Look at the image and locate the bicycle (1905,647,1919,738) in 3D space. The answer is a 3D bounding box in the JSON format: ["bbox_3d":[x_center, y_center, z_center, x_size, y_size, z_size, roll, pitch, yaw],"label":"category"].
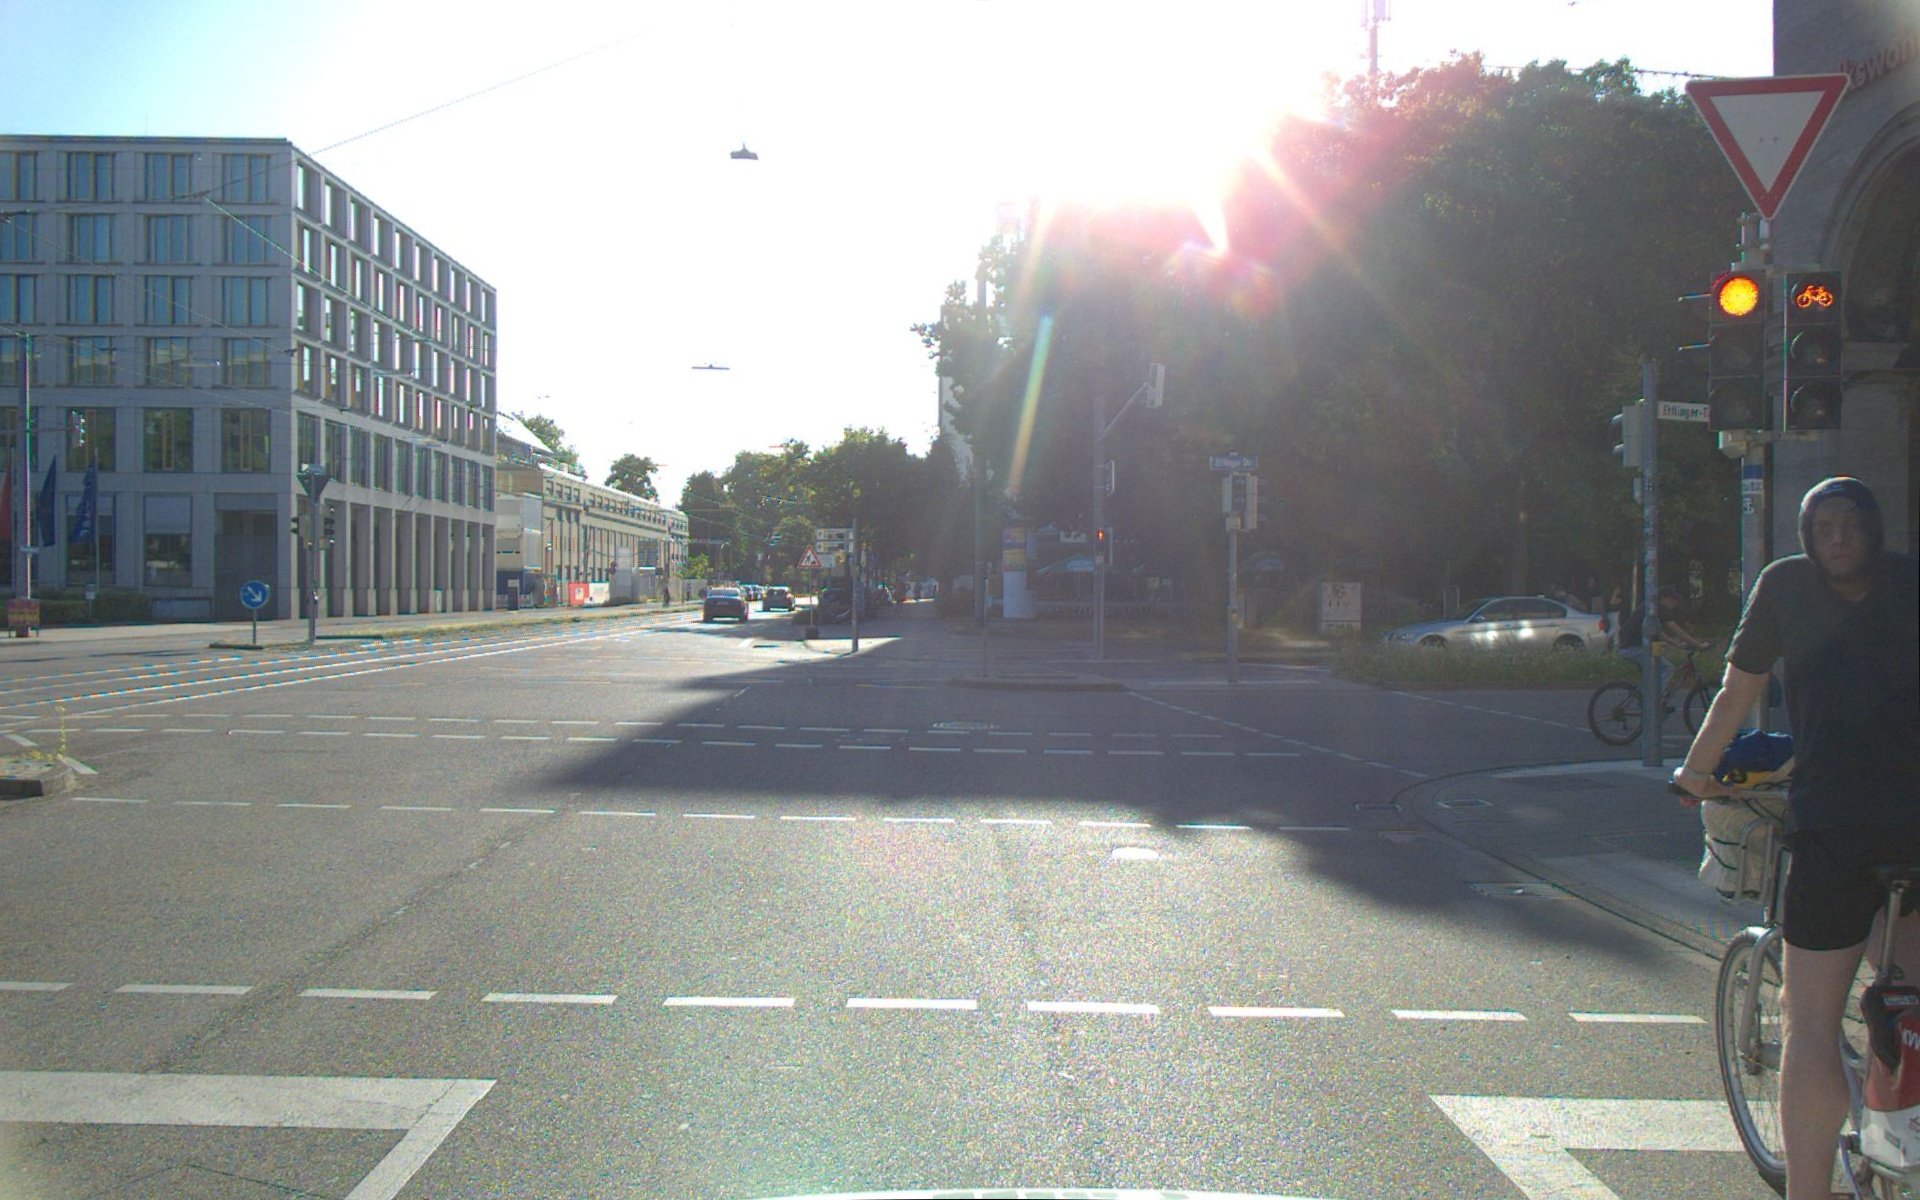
[{"bbox_3d":[10.963,0.976,17.418,1.709,0.951,0.645,0,0,-5],"label":"bicycle"}]

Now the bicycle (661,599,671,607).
[{"bbox_3d":[-19.894,0.194,111.955,0.491,0.524,1.257,1,0,-2],"label":"bicycle"}]

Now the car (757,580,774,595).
[{"bbox_3d":[-22.839,-1.442,194.367,1.659,1.748,4.244,1,0,-4],"label":"car"}]

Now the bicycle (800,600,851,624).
[{"bbox_3d":[-5.484,0.505,67.391,1.976,0.907,0.650,-2,-1,27],"label":"bicycle"}]

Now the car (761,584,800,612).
[{"bbox_3d":[-11.174,-0.153,103.333,1.853,1.592,4.807,3,1,0],"label":"car"}]

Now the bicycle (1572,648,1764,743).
[{"bbox_3d":[7.486,0.999,17.511,1.821,0.951,0.559,0,0,-6],"label":"bicycle"}]

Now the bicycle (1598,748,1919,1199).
[{"bbox_3d":[2.081,0.982,3.898,0.505,1.096,1.728,1,0,1],"label":"bicycle"}]

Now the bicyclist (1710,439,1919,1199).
[{"bbox_3d":[2.100,0.579,3.740,0.547,1.830,0.550,1,0,1],"label":"bicyclist"}]

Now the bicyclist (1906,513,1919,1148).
[{"bbox_3d":[2.893,0.629,4.238,0.546,1.721,0.640,1,0,-2],"label":"bicyclist"}]

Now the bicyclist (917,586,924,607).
[{"bbox_3d":[-3.280,-0.316,137.513,0.558,1.721,0.699,0,0,-1],"label":"bicyclist"}]

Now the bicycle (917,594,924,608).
[{"bbox_3d":[-3.281,0.088,137.520,0.563,1.096,1.830,0,0,-1],"label":"bicycle"}]

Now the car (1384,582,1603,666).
[{"bbox_3d":[10.778,0.477,33.571,3.912,1.639,1.650,0,0,-1],"label":"car"}]

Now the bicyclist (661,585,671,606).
[{"bbox_3d":[-19.908,-0.332,111.976,0.584,1.401,0.637,1,-1,-2],"label":"bicyclist"}]

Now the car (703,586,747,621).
[{"bbox_3d":[-10.358,0.153,73.104,1.627,1.481,4.428,1,0,-5],"label":"car"}]

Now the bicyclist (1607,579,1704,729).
[{"bbox_3d":[7.362,0.559,17.516,0.748,1.550,0.606,0,0,-5],"label":"bicyclist"}]

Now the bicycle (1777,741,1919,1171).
[{"bbox_3d":[2.869,1.001,4.346,0.523,1.096,1.750,1,0,-2],"label":"bicycle"}]

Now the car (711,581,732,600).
[{"bbox_3d":[-22.477,-0.903,156.118,1.659,1.748,4.244,1,0,-4],"label":"car"}]

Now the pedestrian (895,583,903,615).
[{"bbox_3d":[-3.612,-0.056,97.652,0.454,1.845,0.502,0,0,-5],"label":"pedestrian"}]

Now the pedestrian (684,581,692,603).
[{"bbox_3d":[-25.401,-0.758,154.476,0.660,2.049,0.751,1,-1,-3],"label":"pedestrian"}]

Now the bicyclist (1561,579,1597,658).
[{"bbox_3d":[13.603,0.400,36.353,0.630,1.712,0.507,0,0,5],"label":"bicyclist"}]

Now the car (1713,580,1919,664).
[{"bbox_3d":[17.540,0.435,33.560,3.770,1.639,1.650,0,0,-1],"label":"car"}]
